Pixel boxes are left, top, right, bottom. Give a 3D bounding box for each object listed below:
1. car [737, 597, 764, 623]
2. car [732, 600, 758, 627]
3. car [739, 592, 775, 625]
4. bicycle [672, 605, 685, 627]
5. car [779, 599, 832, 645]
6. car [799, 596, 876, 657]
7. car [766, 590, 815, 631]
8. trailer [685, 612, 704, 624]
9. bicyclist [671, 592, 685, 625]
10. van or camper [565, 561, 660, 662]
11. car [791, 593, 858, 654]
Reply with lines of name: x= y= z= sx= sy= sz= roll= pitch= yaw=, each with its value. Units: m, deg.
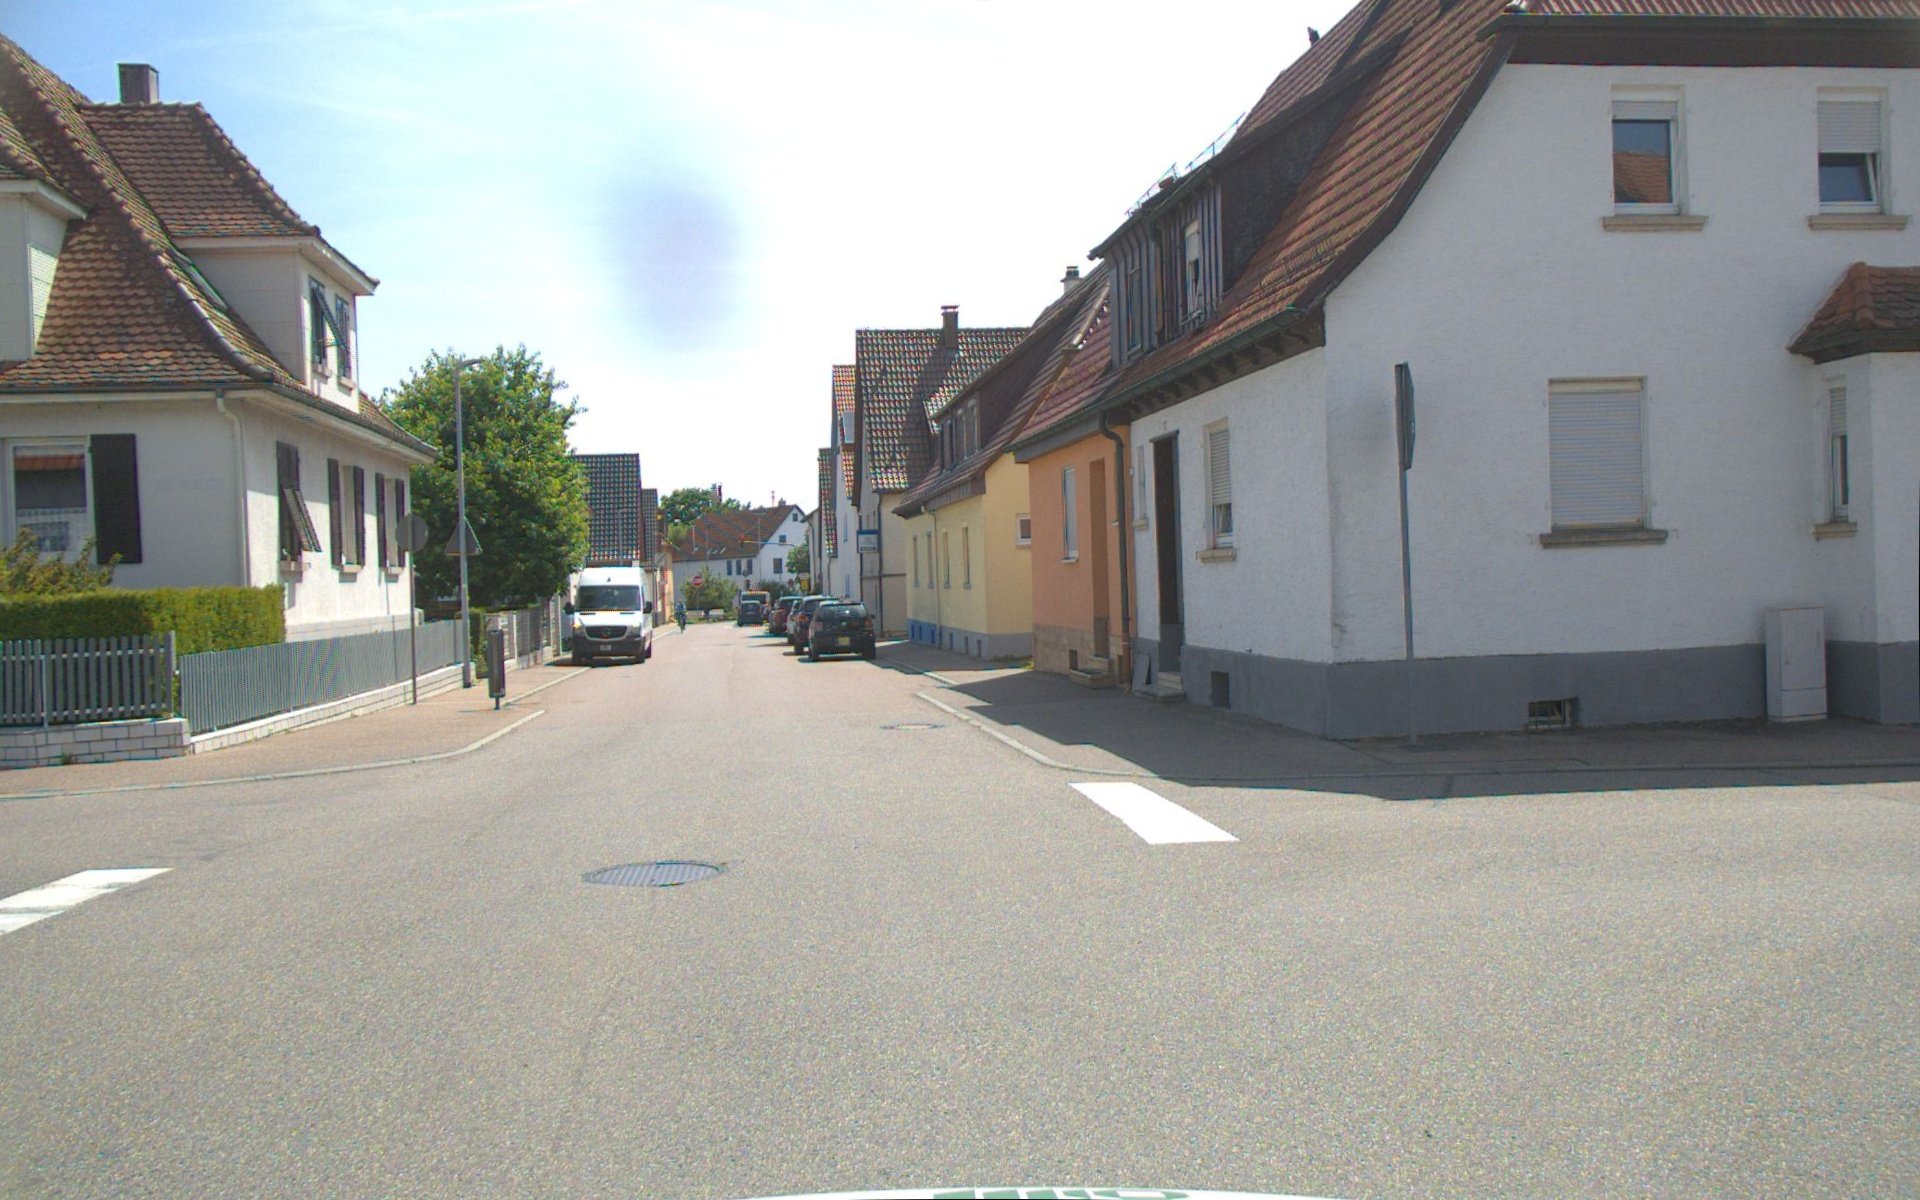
car: x=-13.277 y=0.616 z=105.025 sx=1.486 sy=1.594 sz=3.181 roll=-2 pitch=0 yaw=-5
car: x=-14.232 y=0.892 z=109.560 sx=1.486 sy=1.652 sz=3.181 roll=-3 pitch=0 yaw=-5
car: x=-14.575 y=0.584 z=119.032 sx=2.086 sy=2.196 sz=4.734 roll=-3 pitch=0 yaw=-2
bicycle: x=-15.702 y=0.897 z=92.282 sx=0.658 sy=1.152 sz=2.184 roll=-2 pitch=0 yaw=-9
car: x=-5.581 y=0.768 z=59.489 sx=1.643 sy=1.586 sz=3.033 roll=-2 pitch=0 yaw=-10
car: x=-3.157 y=0.647 z=42.192 sx=1.581 sy=1.456 sz=3.745 roll=-2 pitch=0 yaw=-10
car: x=-7.661 y=0.462 z=74.445 sx=1.841 sy=1.730 sz=4.173 roll=-2 pitch=0 yaw=-10
trailer: x=-21.463 y=1.460 z=133.860 sx=1.473 sy=0.944 sz=1.011 roll=0 pitch=0 yaw=-7
bicyclist: x=-15.750 y=0.475 z=92.330 sx=0.700 sy=1.830 sz=0.940 roll=-2 pitch=0 yaw=-10
van or camper: x=-9.750 y=0.306 z=46.875 sx=2.144 sy=2.616 sz=6.794 roll=-1 pitch=0 yaw=-8
car: x=-3.956 y=0.654 z=47.682 sx=1.696 sy=1.627 sz=4.246 roll=-2 pitch=0 yaw=-7
